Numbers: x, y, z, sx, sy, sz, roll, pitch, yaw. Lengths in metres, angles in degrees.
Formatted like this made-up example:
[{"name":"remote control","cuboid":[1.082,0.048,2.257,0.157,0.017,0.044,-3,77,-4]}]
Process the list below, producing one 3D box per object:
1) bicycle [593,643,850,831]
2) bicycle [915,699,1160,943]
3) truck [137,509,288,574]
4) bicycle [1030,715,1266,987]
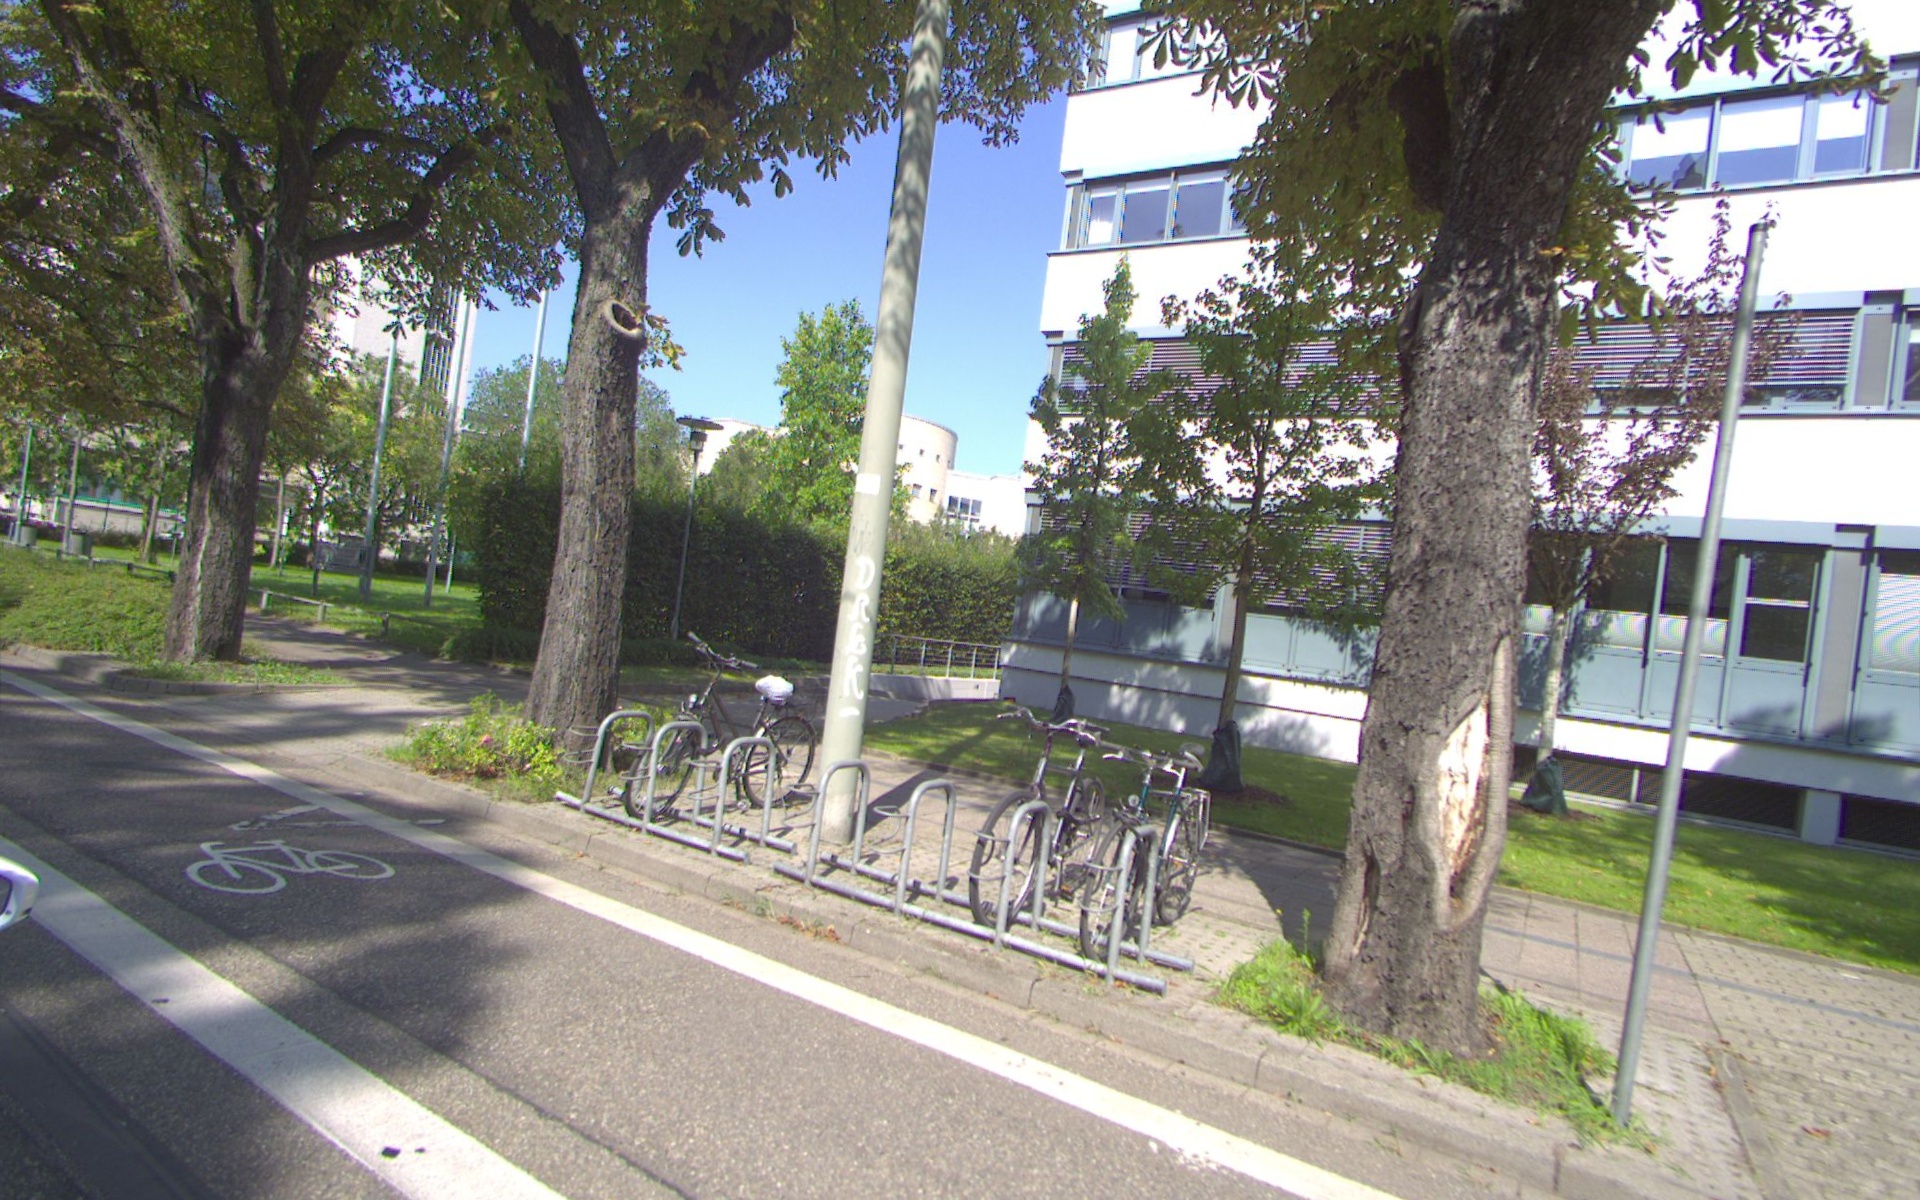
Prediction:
[{"name":"bicycle","cuboid":[-1.556,0.891,6.895,0.531,1.062,1.774,7,-1,30]},{"name":"bicycle","cuboid":[0.511,1.124,5.623,0.531,1.062,1.774,7,-1,30]},{"name":"truck","cuboid":[-37.588,-2.892,50.765,2.261,2.352,5.516,7,-2,33]},{"name":"bicycle","cuboid":[1.051,1.183,5.233,0.531,1.062,1.774,7,-1,30]}]
